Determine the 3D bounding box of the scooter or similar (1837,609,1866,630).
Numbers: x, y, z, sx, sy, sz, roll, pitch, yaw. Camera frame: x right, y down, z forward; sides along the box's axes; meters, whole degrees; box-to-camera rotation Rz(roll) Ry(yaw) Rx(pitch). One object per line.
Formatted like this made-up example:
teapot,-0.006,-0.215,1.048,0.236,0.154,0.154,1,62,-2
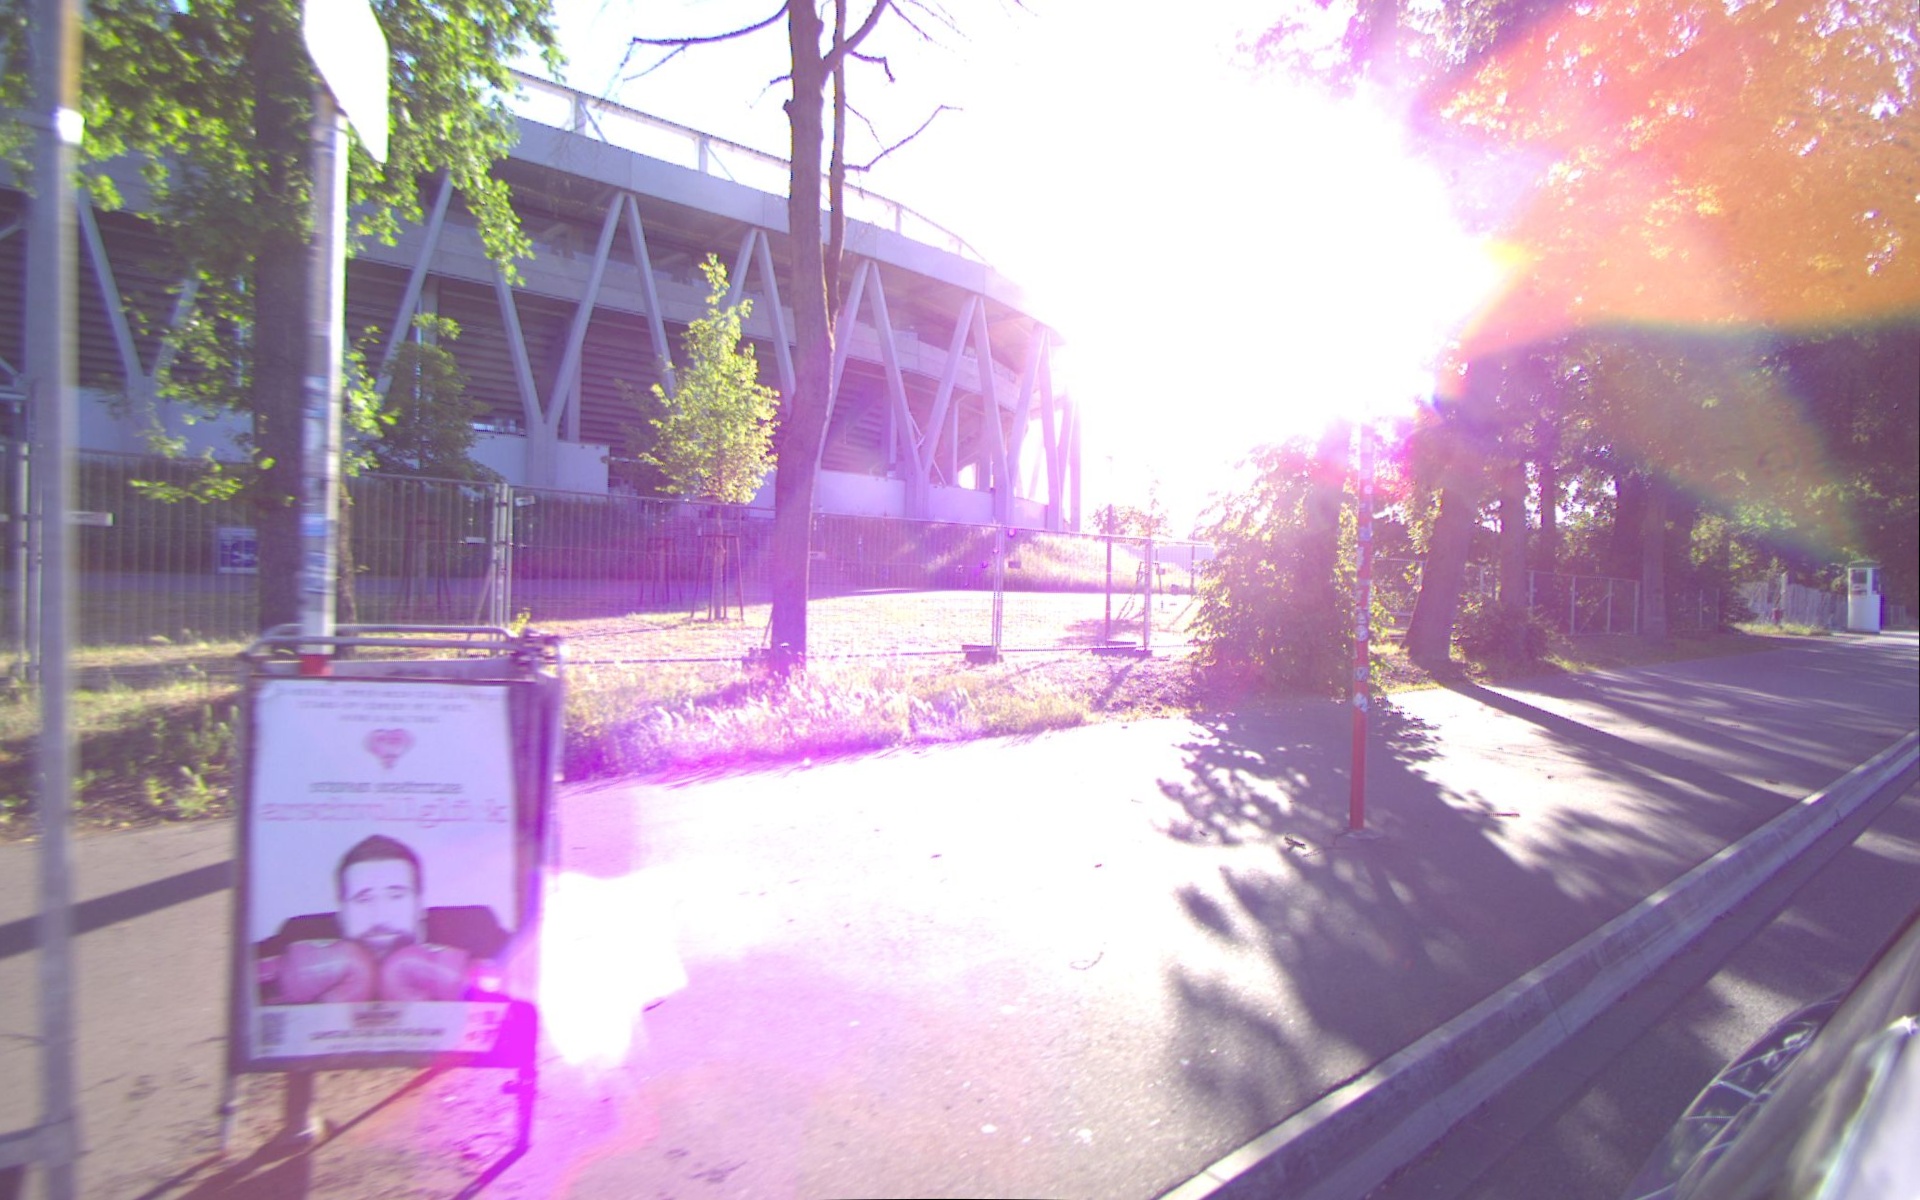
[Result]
scooter or similar,55.114,1.181,62.588,1.281,1.253,0.334,2,0,13
